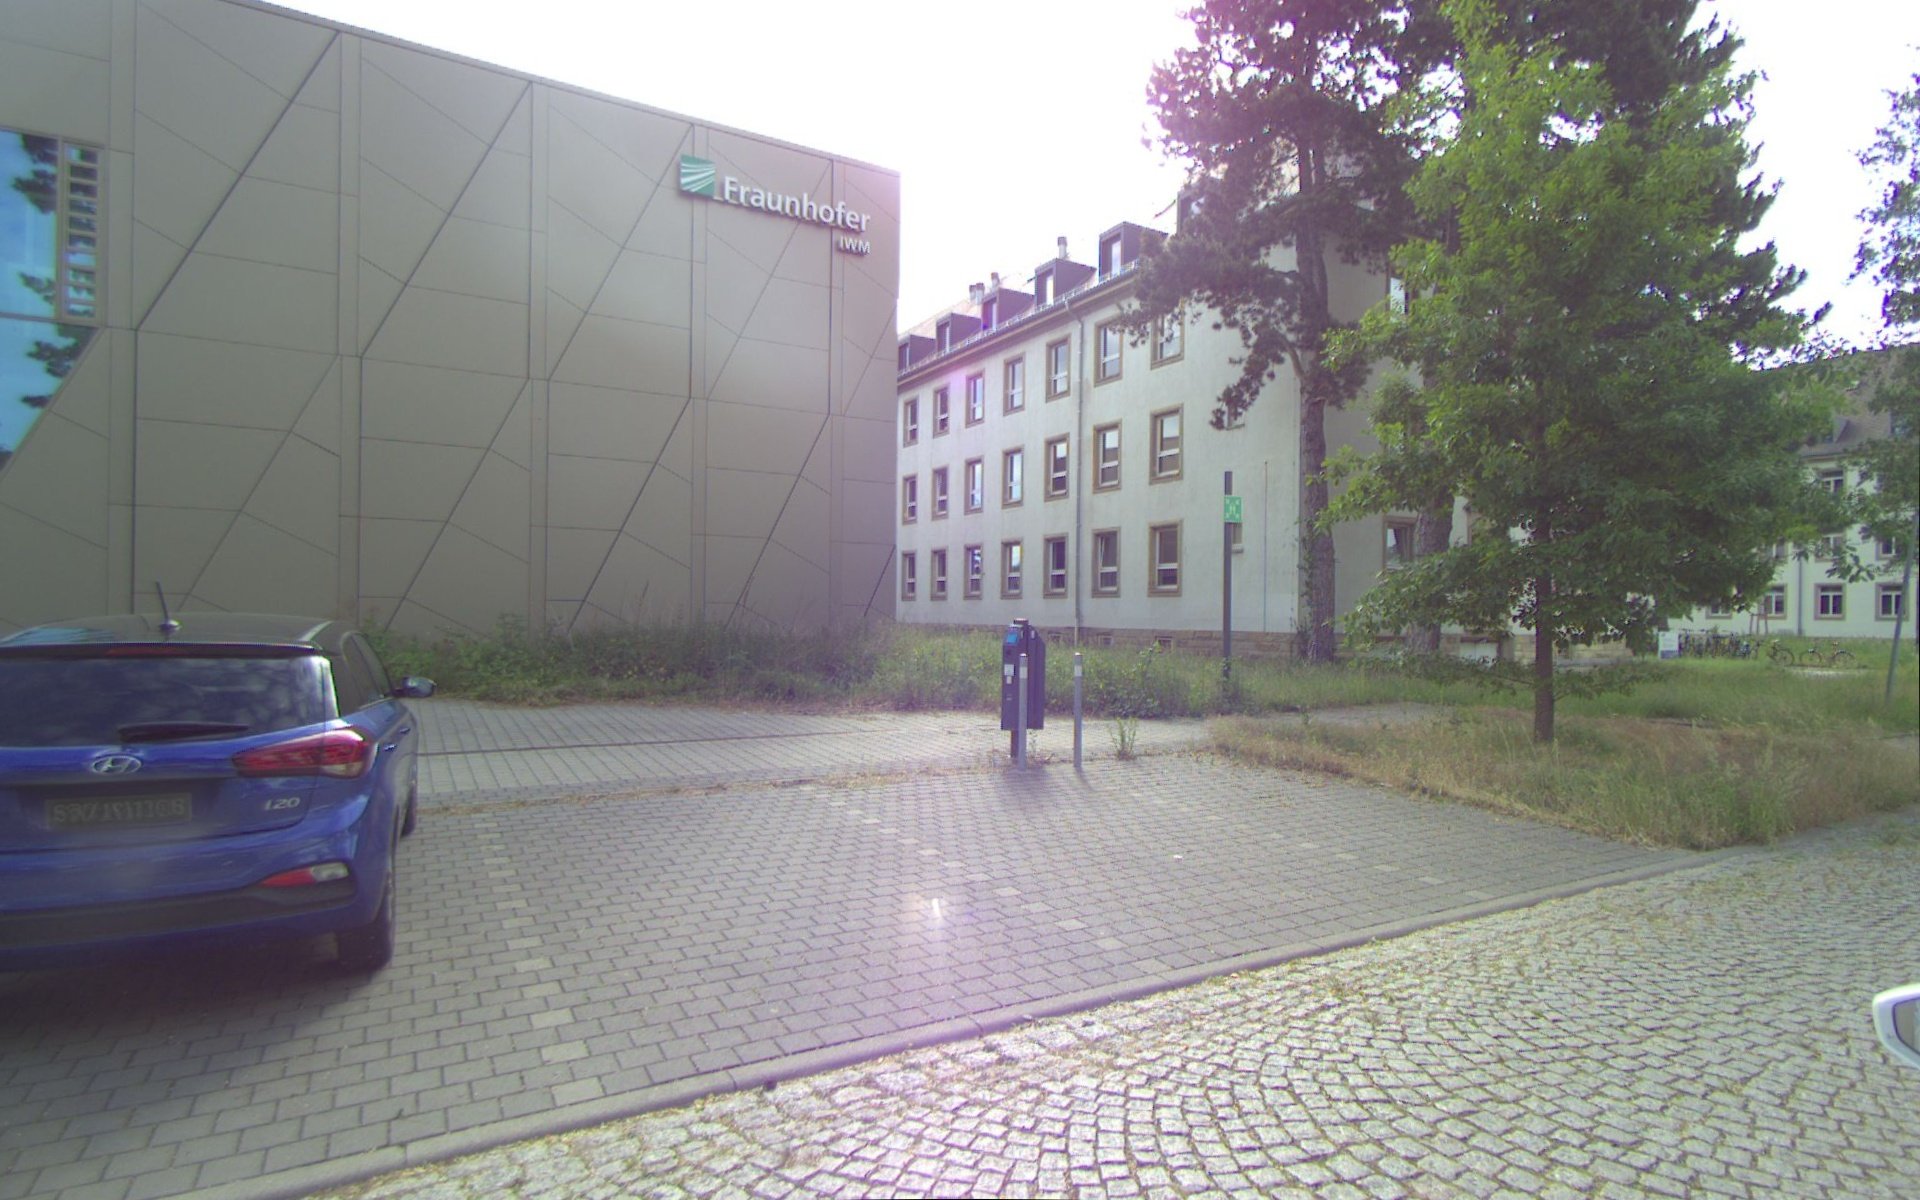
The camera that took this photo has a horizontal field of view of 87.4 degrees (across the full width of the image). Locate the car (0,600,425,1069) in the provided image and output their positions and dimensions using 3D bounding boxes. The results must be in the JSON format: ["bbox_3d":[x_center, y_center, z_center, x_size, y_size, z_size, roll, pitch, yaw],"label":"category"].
[{"bbox_3d":[-3.846,0.795,5.138,1.828,1.498,3.752,1,1,-27],"label":"car"}]

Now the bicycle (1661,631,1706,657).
[{"bbox_3d":[31.512,1.910,43.745,2.246,1.090,0.732,1,-1,-30],"label":"bicycle"}]

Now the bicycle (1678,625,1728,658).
[{"bbox_3d":[31.808,1.770,42.992,2.679,1.404,0.732,1,-1,-30],"label":"bicycle"}]

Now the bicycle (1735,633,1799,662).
[{"bbox_3d":[31.897,1.854,39.718,0.729,1.090,1.849,1,-1,-27],"label":"bicycle"}]

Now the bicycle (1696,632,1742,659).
[{"bbox_3d":[31.864,1.908,42.163,2.246,1.090,0.732,1,-1,-30],"label":"bicycle"}]

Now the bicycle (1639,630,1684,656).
[{"bbox_3d":[30.781,1.878,44.060,2.246,1.090,0.732,1,-1,-30],"label":"bicycle"}]

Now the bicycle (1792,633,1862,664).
[{"bbox_3d":[32.842,1.831,38.091,0.821,1.090,1.849,1,-1,-27],"label":"bicycle"}]

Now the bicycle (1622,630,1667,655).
[{"bbox_3d":[30.488,1.881,44.735,2.246,1.090,0.732,1,-1,-30],"label":"bicycle"}]

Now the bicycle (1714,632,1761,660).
[{"bbox_3d":[32.242,1.899,41.644,2.246,1.090,0.732,1,-1,-30],"label":"bicycle"}]
